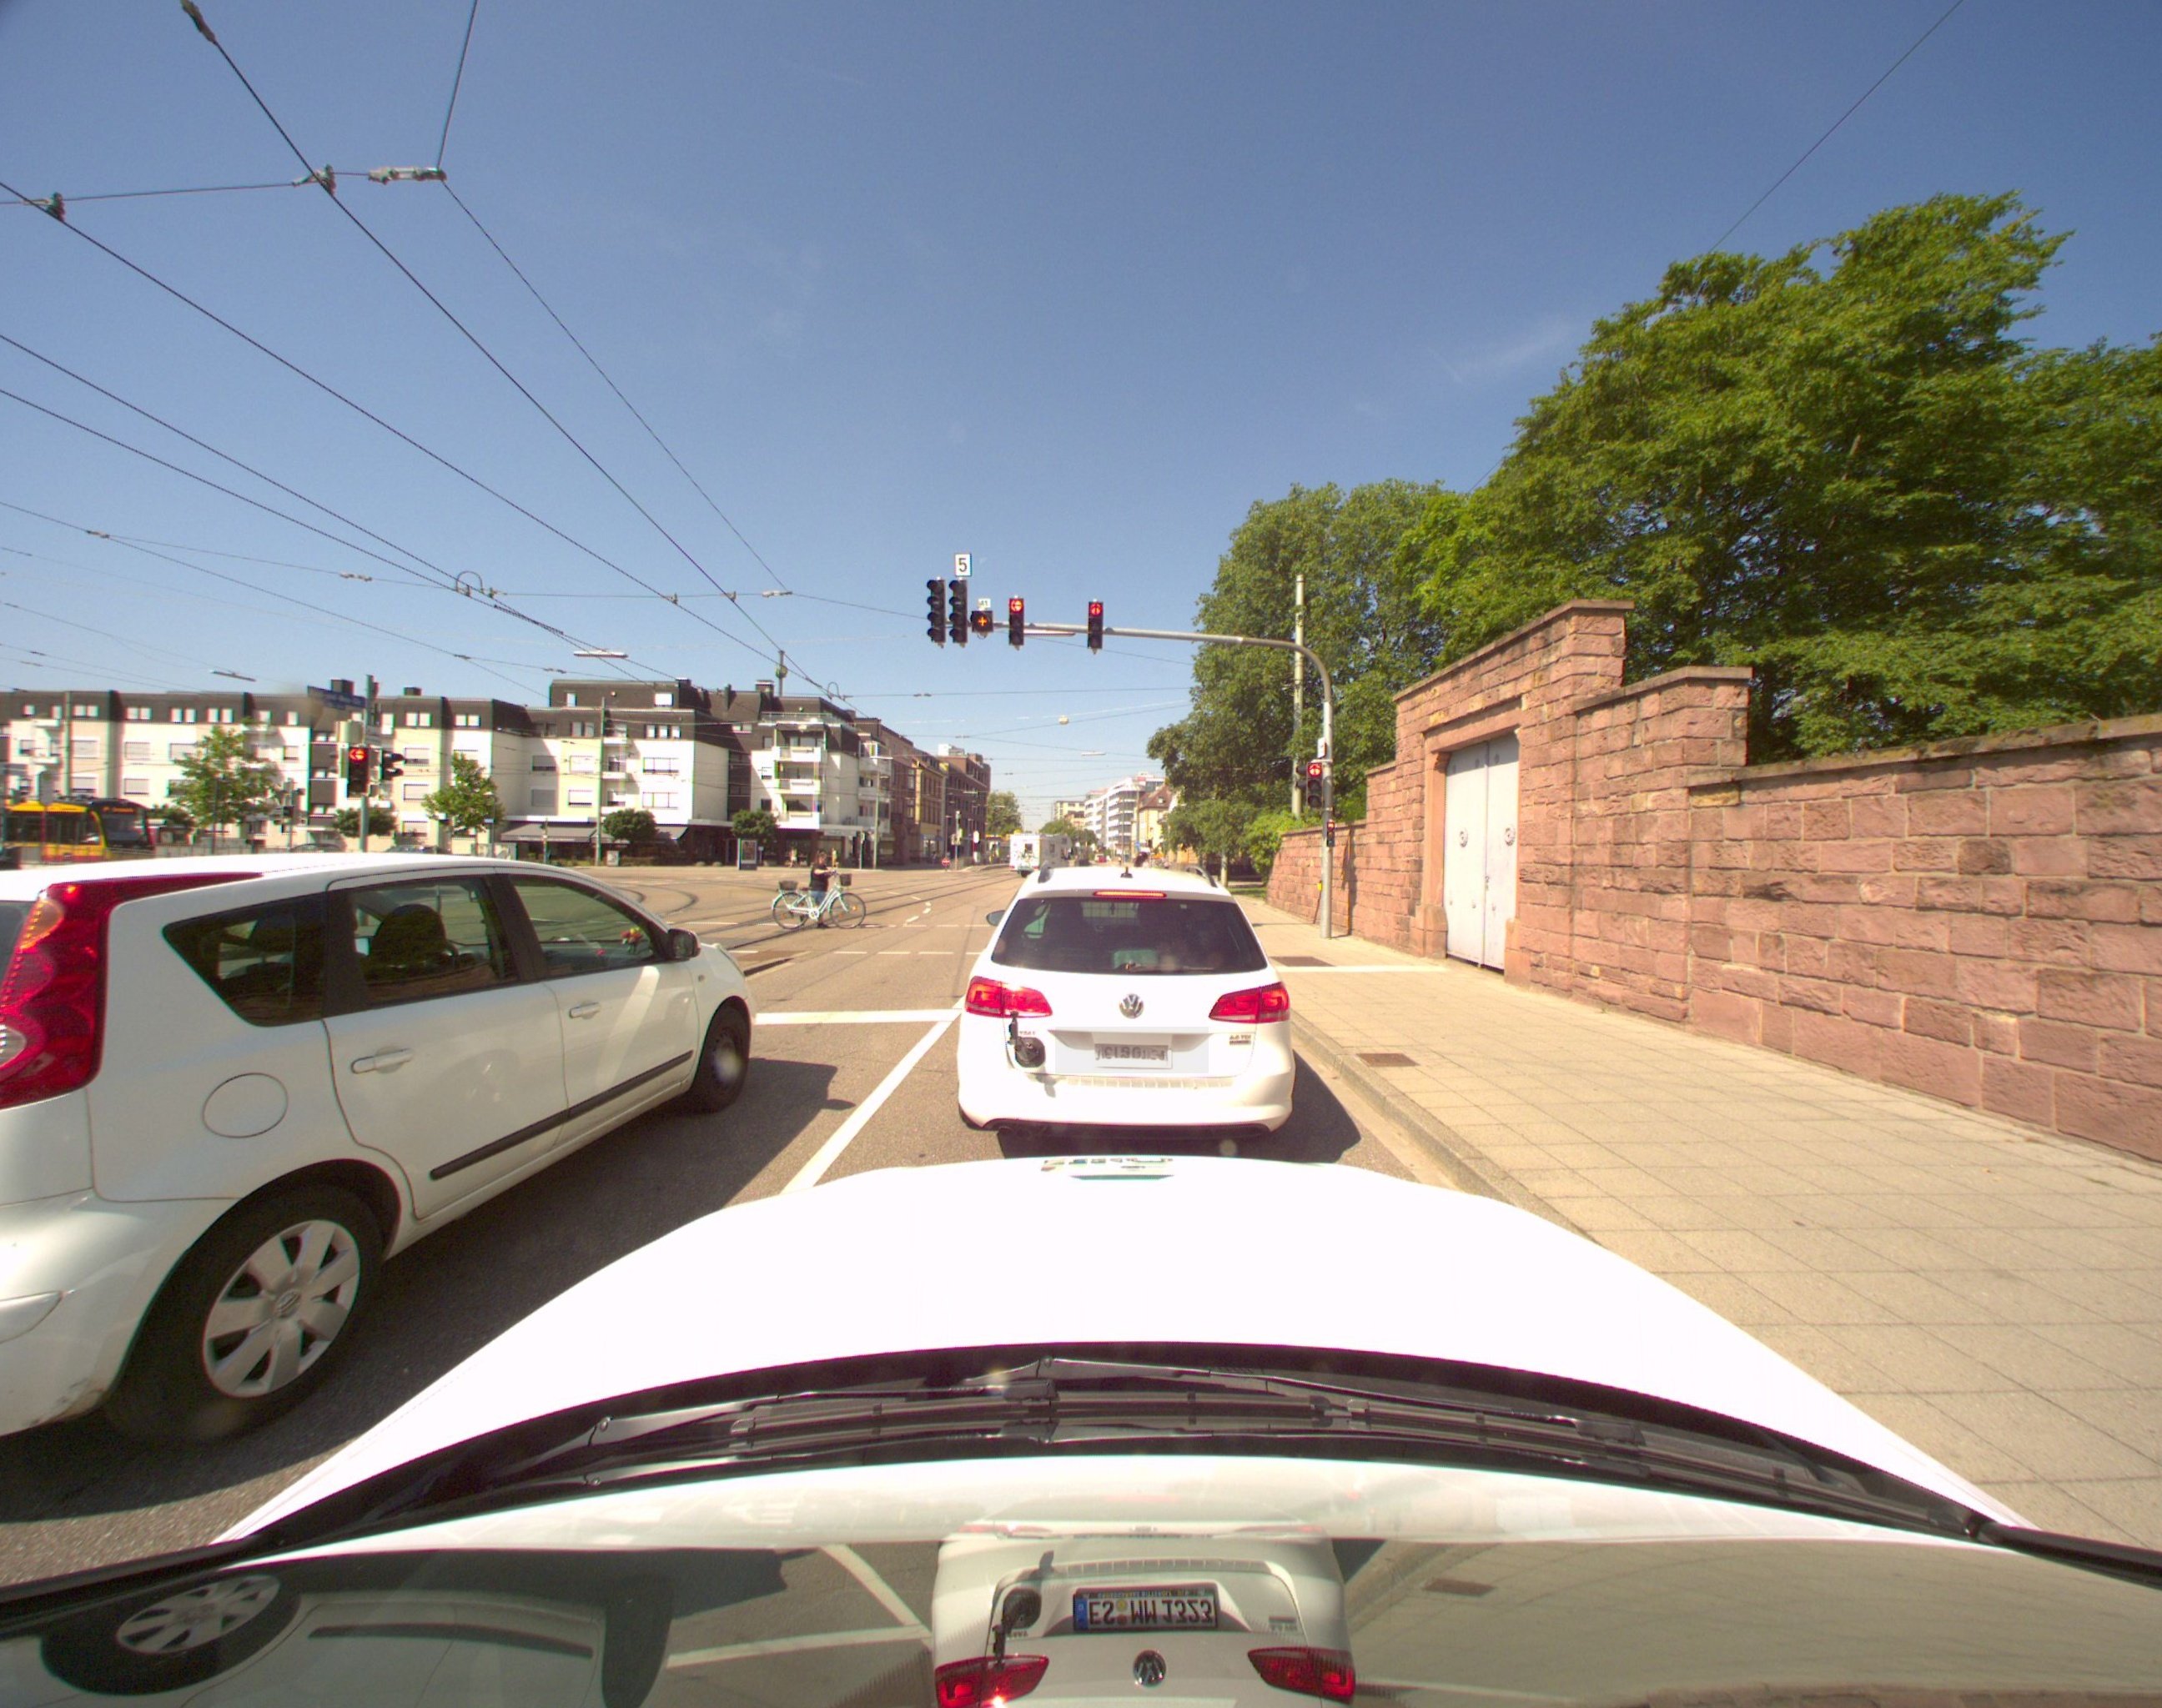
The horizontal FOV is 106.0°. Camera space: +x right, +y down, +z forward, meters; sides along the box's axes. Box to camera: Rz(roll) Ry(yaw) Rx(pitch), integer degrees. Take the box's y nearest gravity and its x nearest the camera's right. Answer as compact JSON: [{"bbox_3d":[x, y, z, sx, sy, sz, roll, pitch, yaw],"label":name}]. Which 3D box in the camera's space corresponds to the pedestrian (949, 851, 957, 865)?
[{"bbox_3d":[-16.662,0.525,105.841,0.860,1.743,0.973,-1,-1,-4],"label":"pedestrian"}]

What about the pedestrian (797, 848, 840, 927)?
[{"bbox_3d":[-5.340,0.664,16.623,0.746,1.571,0.672,-1,0,-12],"label":"pedestrian"}]

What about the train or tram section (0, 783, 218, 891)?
[{"bbox_3d":[-54.656,-0.688,41.527,16.149,5.150,4.735,-1,-1,0],"label":"train or tram section"}]

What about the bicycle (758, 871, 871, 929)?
[{"bbox_3d":[-5.195,0.895,16.003,2.021,1.090,0.707,1,0,-13],"label":"bicycle"}]

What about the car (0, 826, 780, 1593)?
[{"bbox_3d":[-2.903,0.710,3.567,1.636,1.566,3.805,-1,1,1],"label":"car"}]

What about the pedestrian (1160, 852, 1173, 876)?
[{"bbox_3d":[6.318,0.763,60.349,0.856,1.743,0.977,-1,-1,9],"label":"pedestrian"}]

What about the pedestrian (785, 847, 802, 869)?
[{"bbox_3d":[-23.411,0.339,66.410,0.853,1.743,0.981,-2,-2,33],"label":"pedestrian"}]

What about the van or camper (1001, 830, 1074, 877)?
[{"bbox_3d":[-2.904,0.008,56.254,2.543,3.093,5.736,-2,-1,26],"label":"van or camper"}]

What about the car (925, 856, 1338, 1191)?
[{"bbox_3d":[0.277,0.744,5.568,1.801,1.448,4.001,0,0,1],"label":"car"}]

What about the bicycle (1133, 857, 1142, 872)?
[{"bbox_3d":[5.189,0.952,74.627,0.557,1.297,2.247,-1,-1,-2],"label":"bicycle"}]

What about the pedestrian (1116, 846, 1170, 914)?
[{"bbox_3d":[1.555,0.649,20.425,0.943,1.651,0.981,-2,-2,36],"label":"pedestrian"}]

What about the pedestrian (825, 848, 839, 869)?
[{"bbox_3d":[-21.383,0.399,69.905,0.978,1.743,0.856,0,-2,-30],"label":"pedestrian"}]

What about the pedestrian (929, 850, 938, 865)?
[{"bbox_3d":[-18.054,0.434,99.664,0.860,1.743,0.973,-1,-1,-4],"label":"pedestrian"}]

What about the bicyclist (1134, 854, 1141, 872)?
[{"bbox_3d":[5.194,0.797,74.591,0.560,1.613,0.637,-1,-1,-3],"label":"bicyclist"}]
